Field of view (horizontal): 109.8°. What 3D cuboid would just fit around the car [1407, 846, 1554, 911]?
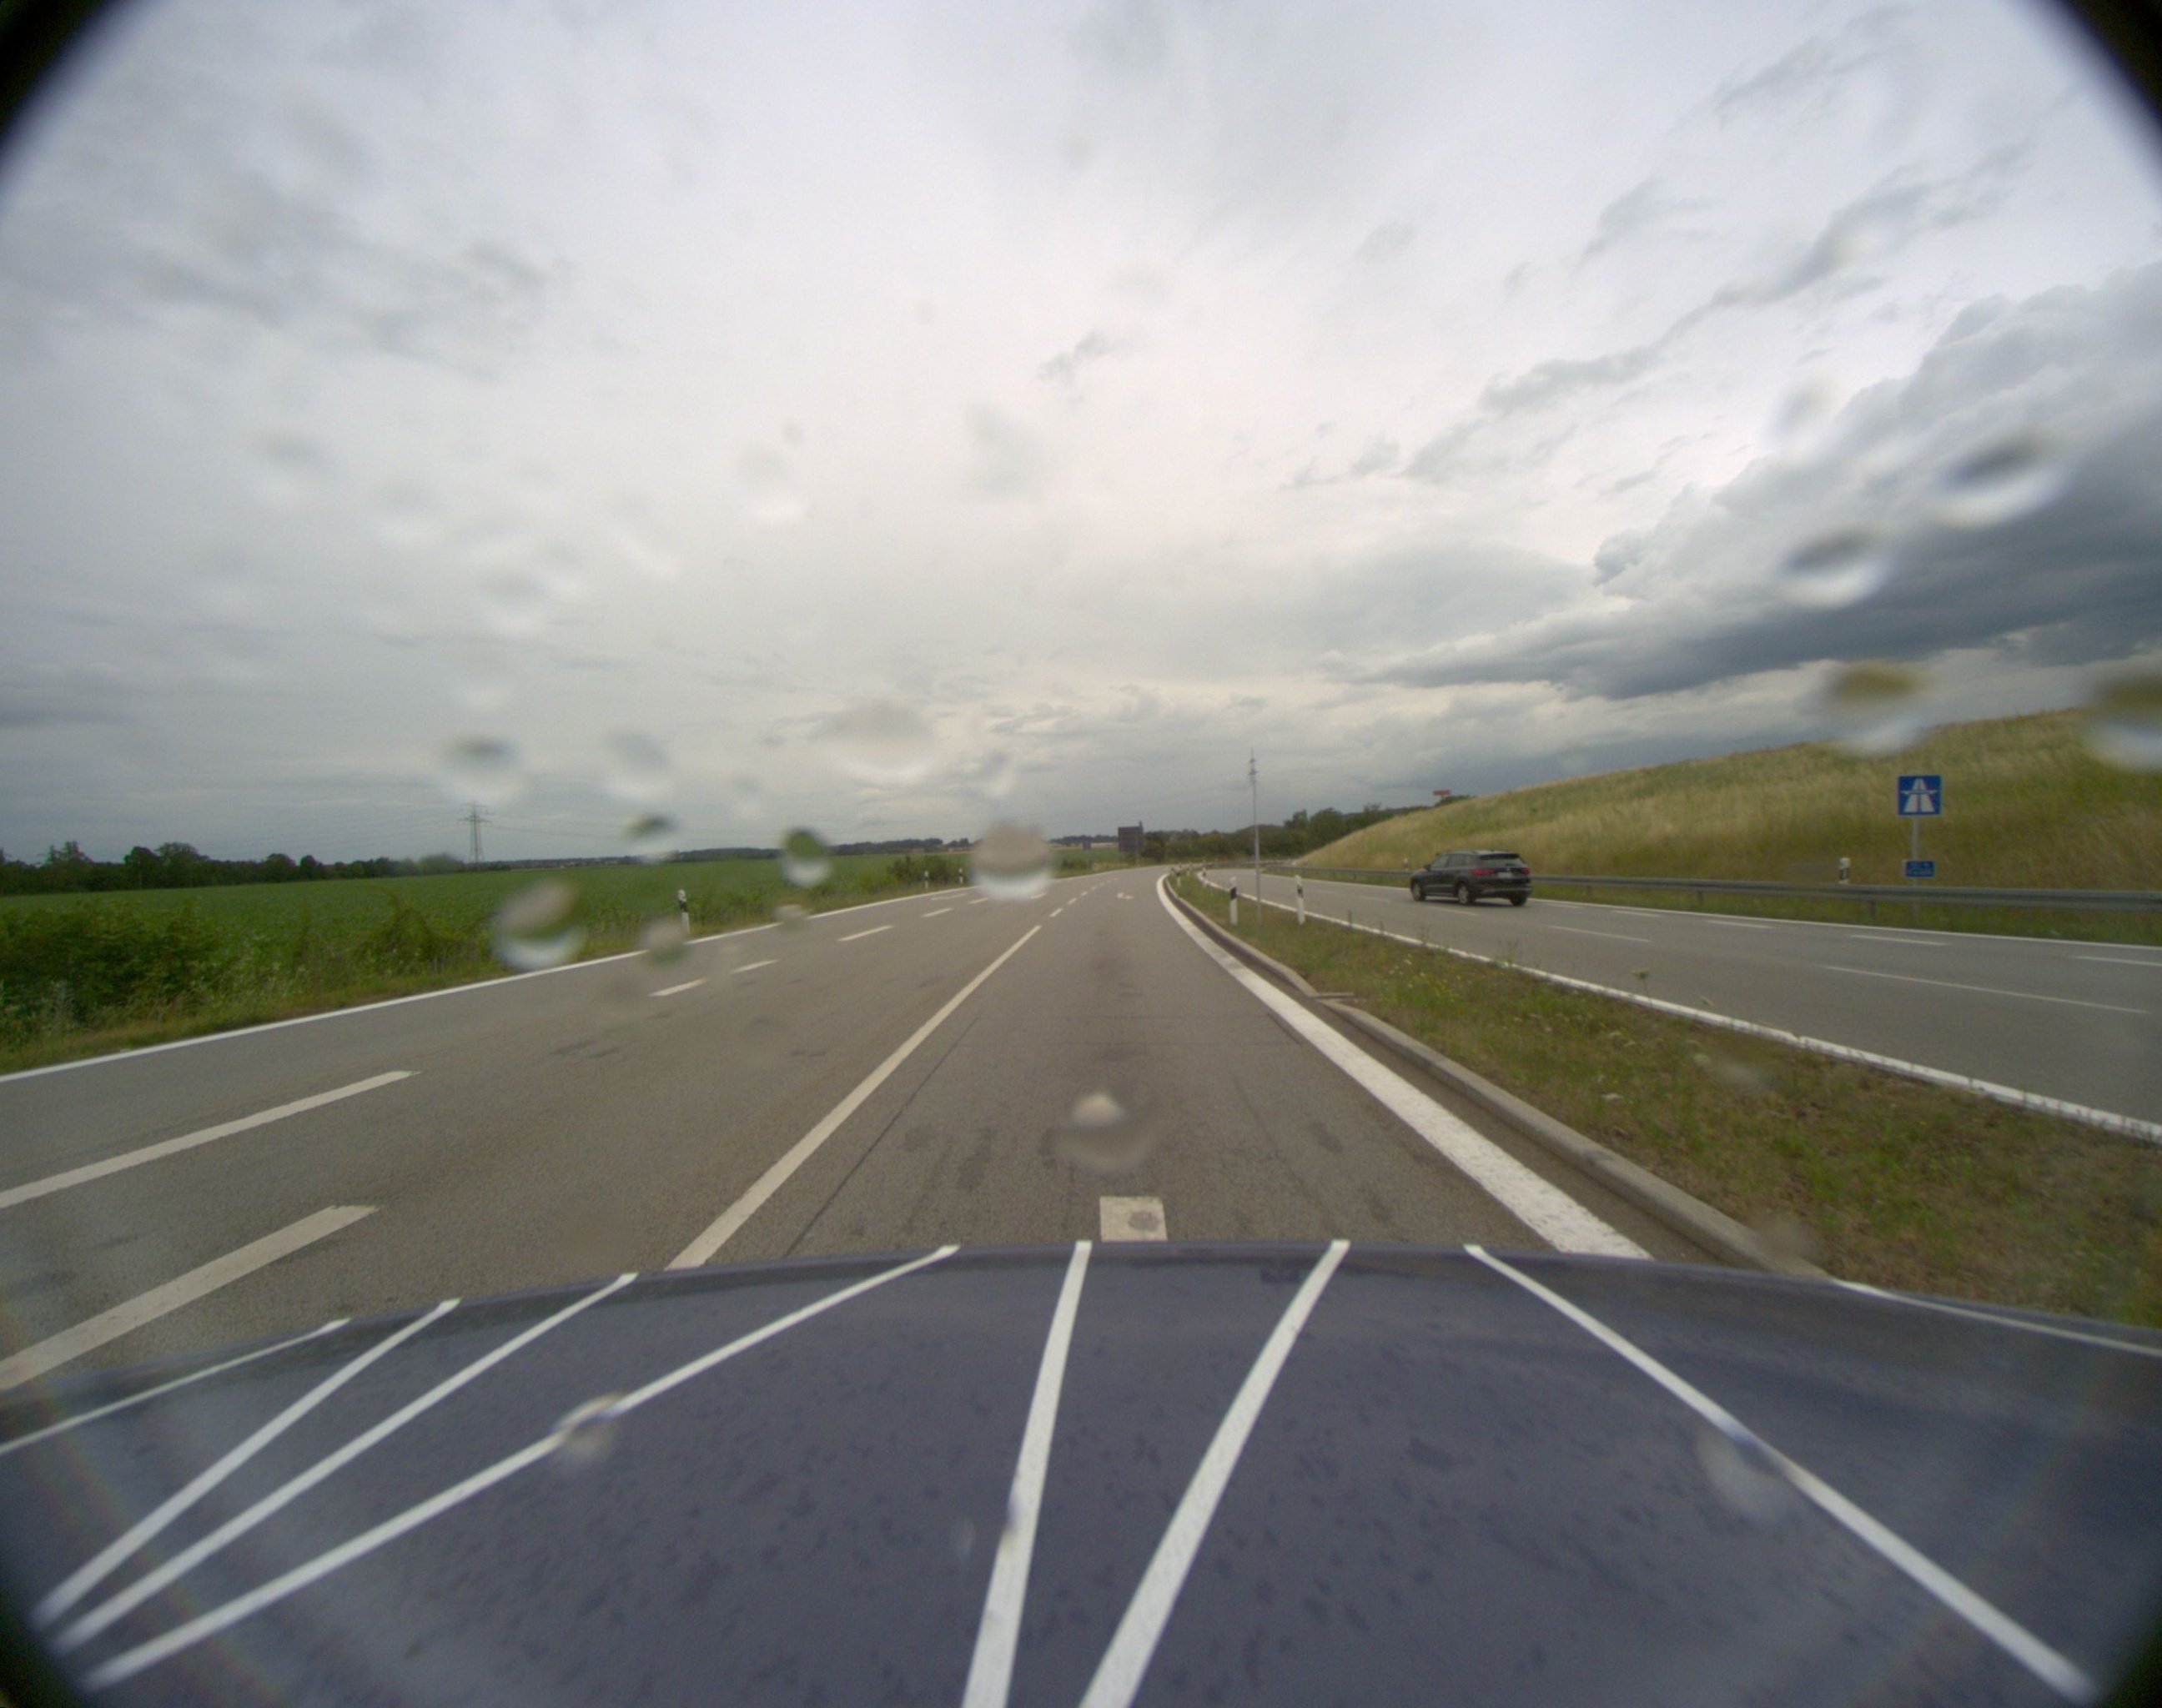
[{"bbox_3d":[11.681,0.647,22.591,1.999,1.674,4.112,-2,1,-3],"label":"car"}]

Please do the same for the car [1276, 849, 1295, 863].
[{"bbox_3d":[26.735,0.244,99.284,1.996,1.674,4.119,-2,1,19],"label":"car"}]
